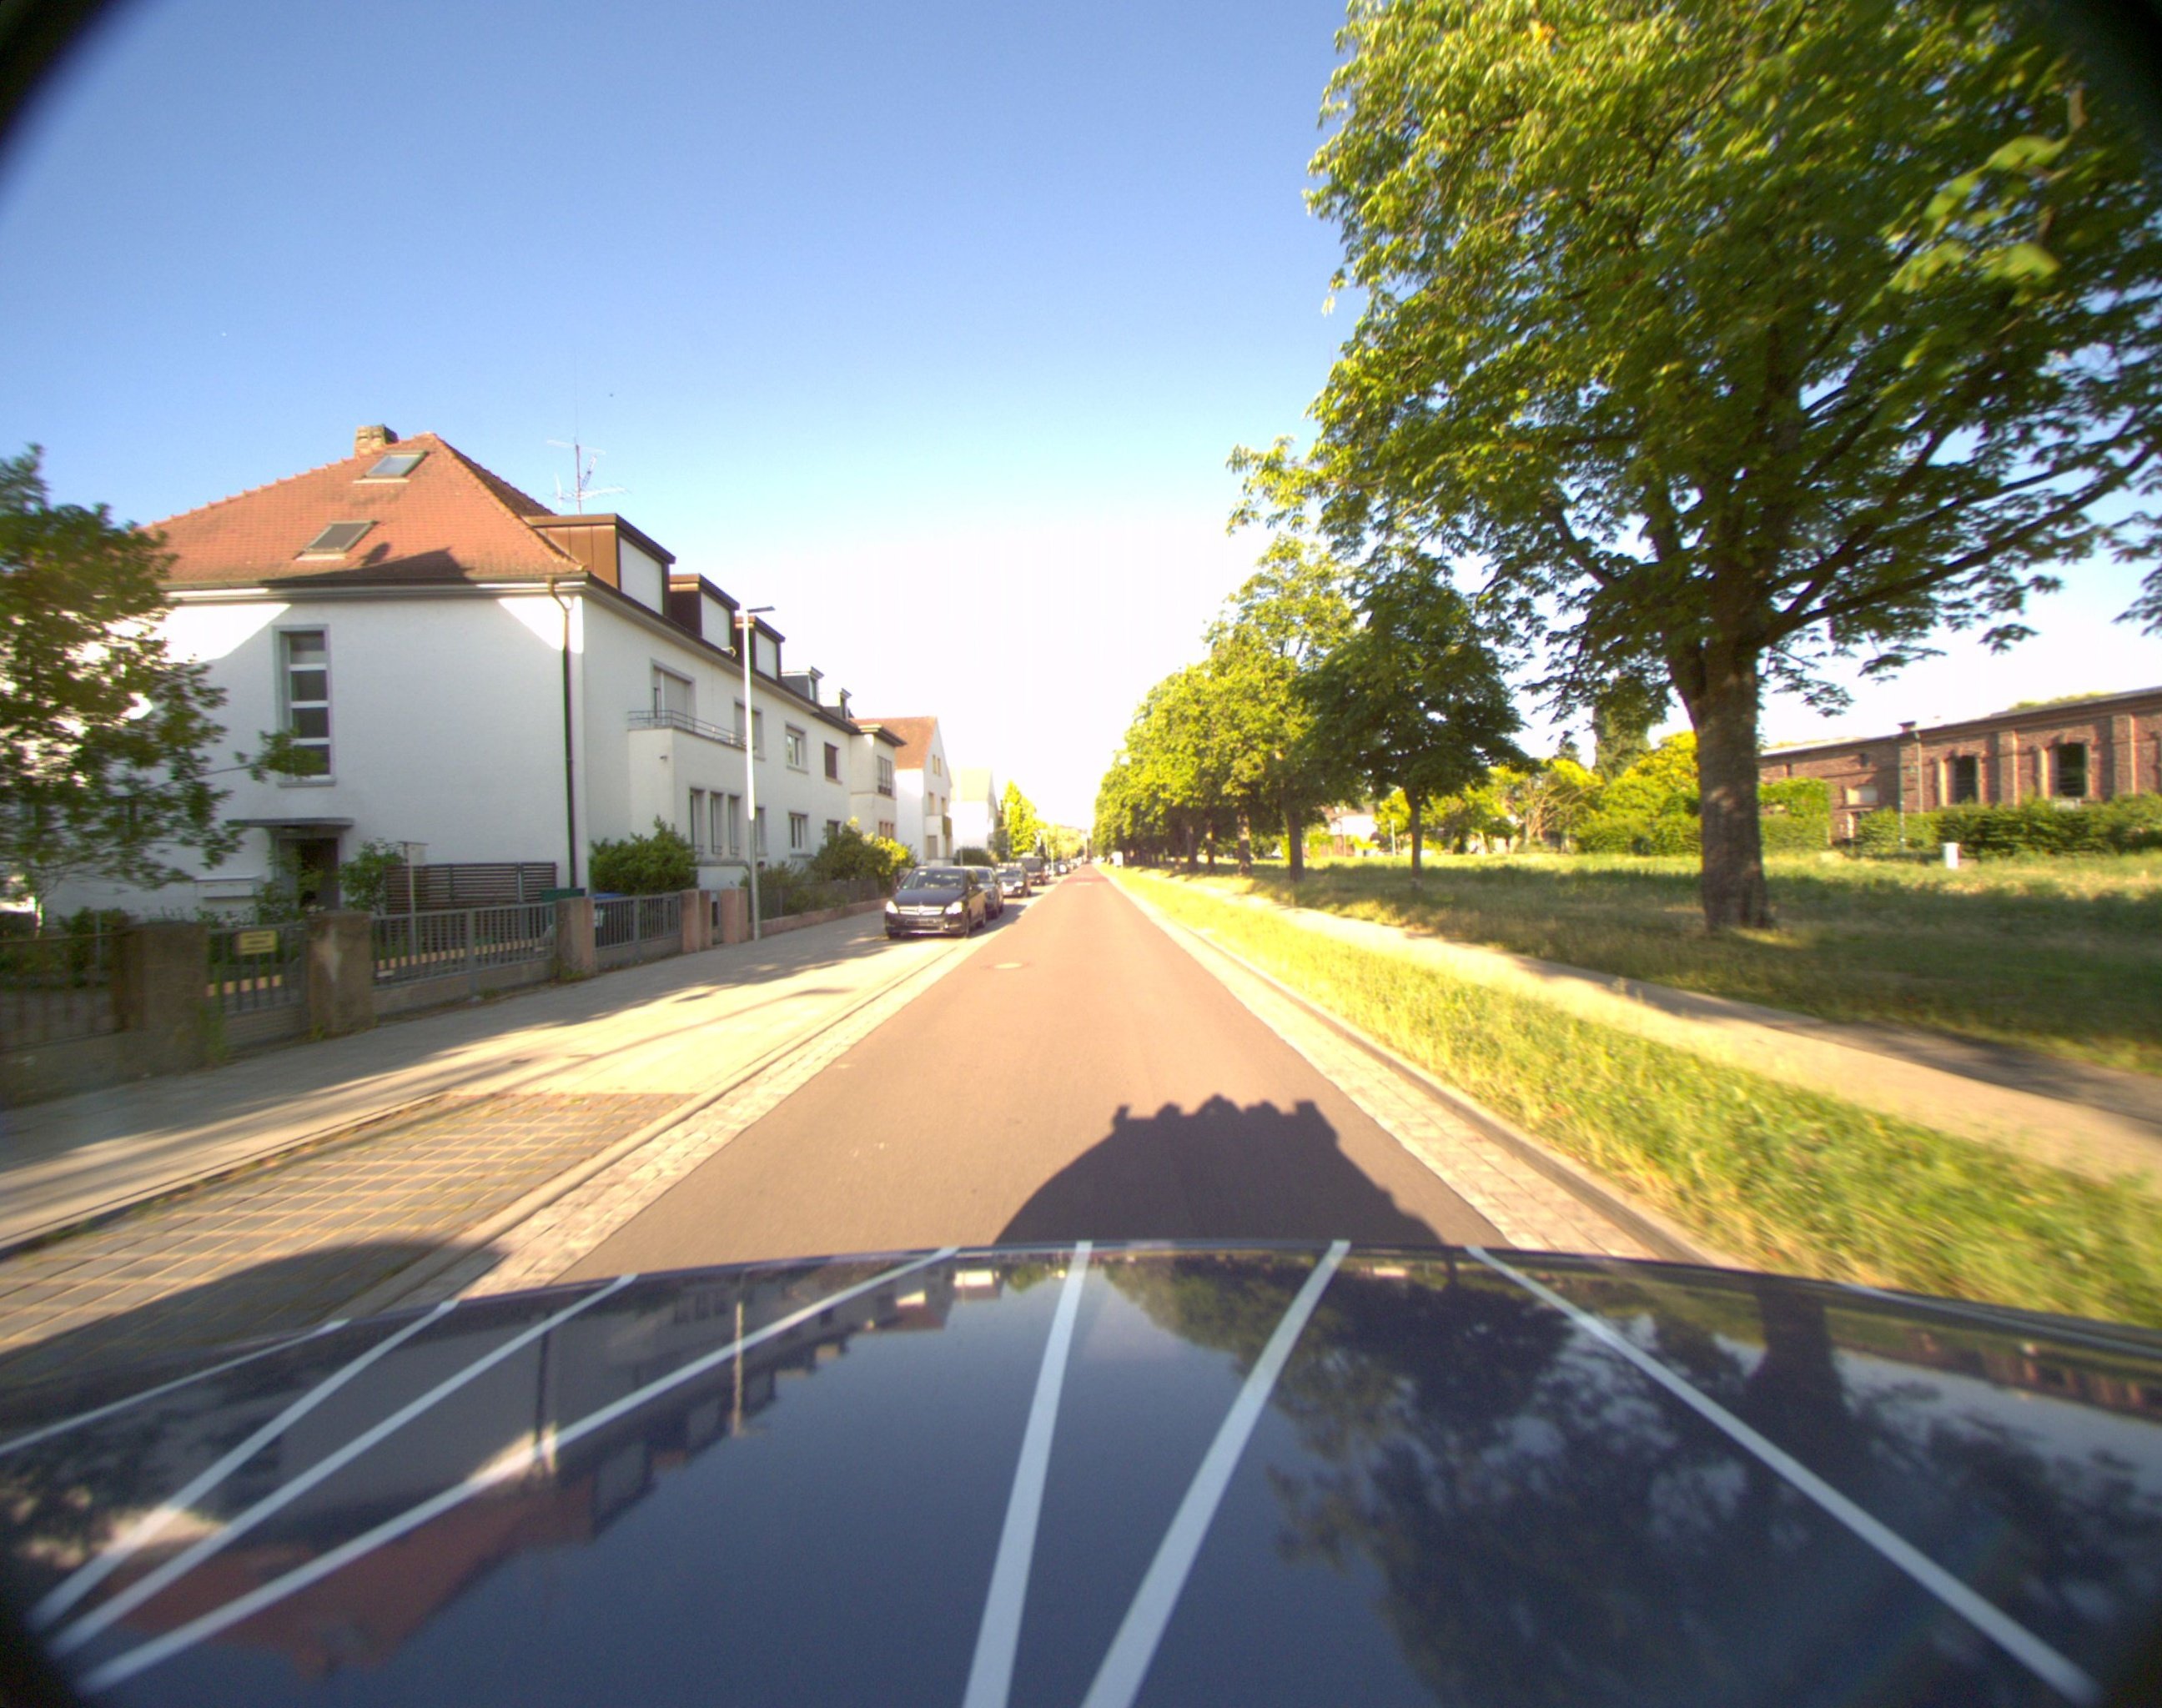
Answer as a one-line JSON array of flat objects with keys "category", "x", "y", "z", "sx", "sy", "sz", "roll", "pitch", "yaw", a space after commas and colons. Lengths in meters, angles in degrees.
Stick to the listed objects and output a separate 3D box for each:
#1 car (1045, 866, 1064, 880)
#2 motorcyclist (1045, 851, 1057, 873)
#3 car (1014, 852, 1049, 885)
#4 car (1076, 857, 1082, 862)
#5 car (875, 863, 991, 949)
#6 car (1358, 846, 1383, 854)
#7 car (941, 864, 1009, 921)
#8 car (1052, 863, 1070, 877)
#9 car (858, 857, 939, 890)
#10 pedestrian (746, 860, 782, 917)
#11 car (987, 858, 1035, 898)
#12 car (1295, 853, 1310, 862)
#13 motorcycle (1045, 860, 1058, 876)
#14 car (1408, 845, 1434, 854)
[{"category": "car", "x": -2.851, "y": 2.023, "z": 81.913, "sx": 1.798, "sy": 1.473, "sz": 4.125, "roll": 1, "pitch": -1, "yaw": 1}, {"category": "motorcyclist", "x": -2.763, "y": 0.718, "z": 70.273, "sx": 0.961, "sy": 2.002, "sz": 1.274, "roll": -3, "pitch": 0, "yaw": 0}, {"category": "car", "x": -3.327, "y": 0.958, "z": 51.943, "sx": 1.910, "sy": 2.119, "sz": 4.815, "roll": 0, "pitch": 0, "yaw": 2}, {"category": "car", "x": -0.682, "y": 1.830, "z": 234.081, "sx": 1.844, "sy": 1.471, "sz": 3.764, "roll": -2, "pitch": 0, "yaw": 0}, {"category": "car", "x": -3.358, "y": 1.118, "z": 18.091, "sx": 1.837, "sy": 1.675, "sz": 4.415, "roll": 1, "pitch": 0, "yaw": 0}, {"category": "car", "x": 48.837, "y": -0.665, "z": 128.168, "sx": 3.636, "sy": 1.273, "sz": 1.586, "roll": -3, "pitch": 1, "yaw": 2}, {"category": "car", "x": -3.226, "y": 1.137, "z": 23.849, "sx": 1.722, "sy": 1.565, "sz": 4.209, "roll": 0, "pitch": 0, "yaw": -3}, {"category": "car", "x": -2.482, "y": 1.986, "z": 96.258, "sx": 1.910, "sy": 1.698, "sz": 4.576, "roll": 0, "pitch": -1, "yaw": 2}, {"category": "car", "x": -10.682, "y": 1.129, "z": 44.704, "sx": 4.228, "sy": 1.716, "sz": 1.853, "roll": -3, "pitch": 0, "yaw": -3}, {"category": "pedestrian", "x": -8.891, "y": 0.964, "z": 21.326, "sx": 0.595, "sy": 1.569, "sz": 0.631, "roll": -3, "pitch": 1, "yaw": 27}, {"category": "car", "x": -3.193, "y": 1.068, "z": 35.391, "sx": 1.798, "sy": 1.760, "sz": 4.473, "roll": 0, "pitch": 0, "yaw": 1}, {"category": "car", "x": 43.744, "y": 0.630, "z": 150.058, "sx": 1.766, "sy": 1.619, "sz": 4.000, "roll": -3, "pitch": 0, "yaw": 0}, {"category": "motorcycle", "x": -2.701, "y": 1.318, "z": 70.353, "sx": 1.077, "sy": 1.373, "sz": 2.463, "roll": -3, "pitch": 0, "yaw": 0}, {"category": "car", "x": 57.971, "y": -0.732, "z": 129.485, "sx": 3.636, "sy": 1.273, "sz": 1.586, "roll": -3, "pitch": 1, "yaw": 2}]
